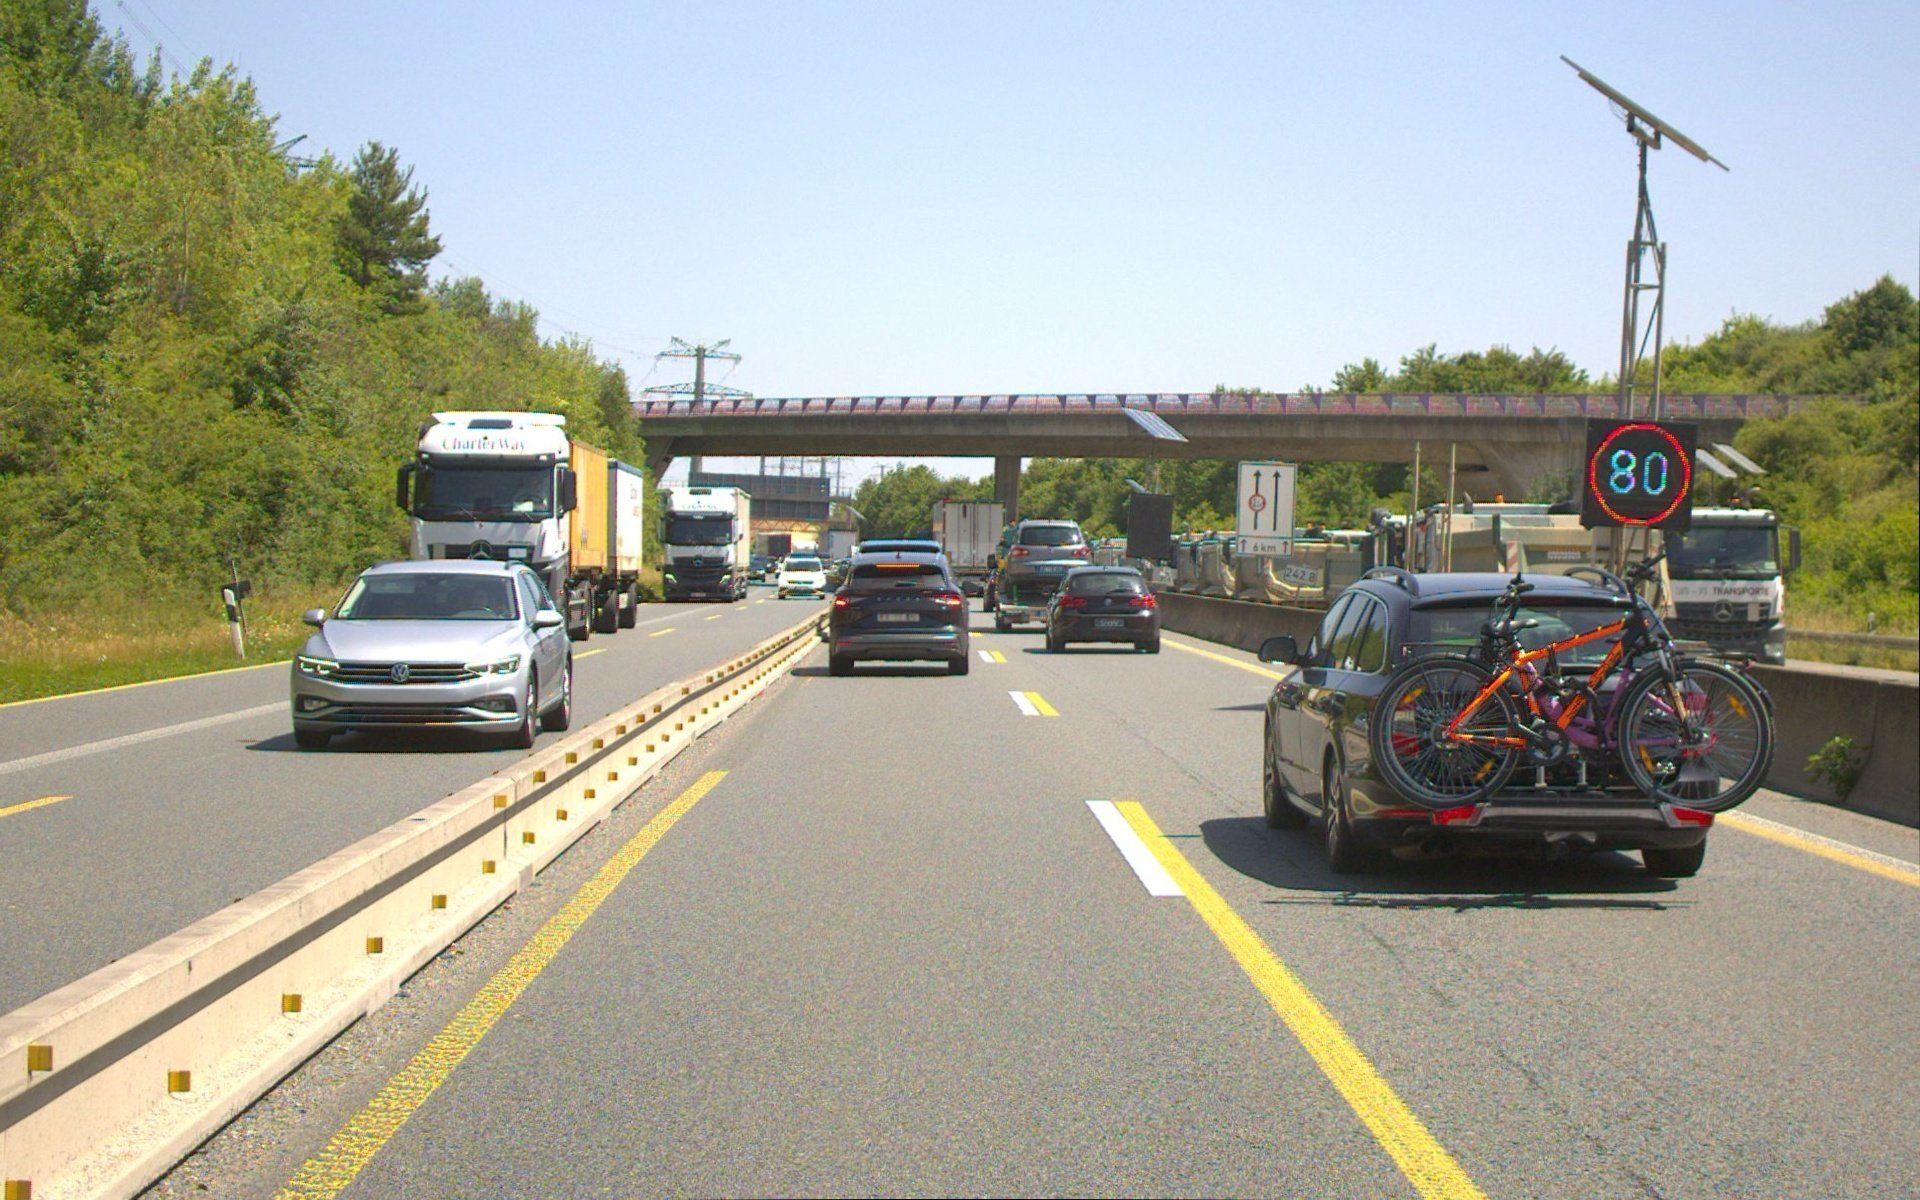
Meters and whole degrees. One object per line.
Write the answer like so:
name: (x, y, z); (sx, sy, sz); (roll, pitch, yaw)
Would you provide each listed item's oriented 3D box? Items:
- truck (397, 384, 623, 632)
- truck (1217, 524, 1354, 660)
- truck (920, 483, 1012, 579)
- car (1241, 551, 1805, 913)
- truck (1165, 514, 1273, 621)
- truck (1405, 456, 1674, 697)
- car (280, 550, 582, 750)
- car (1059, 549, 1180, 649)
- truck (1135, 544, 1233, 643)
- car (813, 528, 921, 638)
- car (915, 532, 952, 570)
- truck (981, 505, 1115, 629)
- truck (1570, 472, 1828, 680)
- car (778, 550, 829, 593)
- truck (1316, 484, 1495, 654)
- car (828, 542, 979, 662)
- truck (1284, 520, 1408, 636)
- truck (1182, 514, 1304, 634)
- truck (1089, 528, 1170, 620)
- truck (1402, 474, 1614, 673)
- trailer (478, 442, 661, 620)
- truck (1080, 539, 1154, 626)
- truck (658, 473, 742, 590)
truck: (-7.861, -1.580, 61.309); (2.649, 3.978, 9.651); (2, 1, 0)
truck: (8.962, -0.279, 95.749); (2.687, 3.545, 9.603); (1, 1, -1)
truck: (0.187, -2.871, 144.666); (3.292, 3.832, 10.111); (1, 1, -3)
car: (2.555, 0.535, 16.842); (1.899, 1.485, 4.947); (1, 0, 0)
truck: (8.950, -1.161, 119.544); (2.687, 3.545, 9.326); (1, 1, -2)
truck: (9.086, -0.412, 54.976); (2.533, 3.499, 9.097); (1, 1, -1)
car: (-4.202, 0.358, 27.954); (1.841, 1.485, 4.511); (0, 0, -1)
car: (2.618, -0.034, 57.296); (1.899, 1.580, 4.276); (1, 1, 1)
truck: (8.319, -0.309, 128.597); (2.687, 3.545, 9.326); (1, 1, -2)
car: (-1.716, -0.331, 64.401); (1.899, 1.962, 4.276); (1, 1, 0)
car: (-1.371, -2.572, 180.188); (1.899, 1.962, 4.276); (1, 1, 0)
truck: (1.852, -0.758, 75.052); (2.405, 2.549, 7.501); (1, 1, -2)
truck: (13.302, -0.460, 62.620); (2.687, 3.499, 8.381); (1, 1, -1)
car: (-6.013, -1.097, 132.271); (1.824, 1.625, 4.151); (1, 0, -1)
truck: (9.900, -0.725, 77.400); (2.538, 3.545, 9.603); (1, 1, -1)
car: (-0.736, 0.000, 45.947); (1.899, 1.500, 4.276); (1, 1, 0)
truck: (11.805, -0.716, 105.934); (2.687, 3.366, 9.603); (1, 1, 0)
truck: (8.758, -0.834, 107.466); (2.687, 3.545, 9.407); (1, 1, -2)
truck: (7.181, -1.148, 146.971); (2.687, 3.748, 9.326); (1, 1, -2)
truck: (10.289, -0.526, 65.401); (2.533, 3.499, 8.944); (1, 1, 0)
trailer: (-7.908, -1.393, 70.602); (2.650, 3.325, 8.919); (2, 1, 0)
truck: (7.202, -0.851, 158.820); (2.687, 3.843, 9.326); (1, 1, -2)
truck: (-9.264, -2.425, 123.463); (2.409, 3.978, 10.353); (1, 1, -2)
